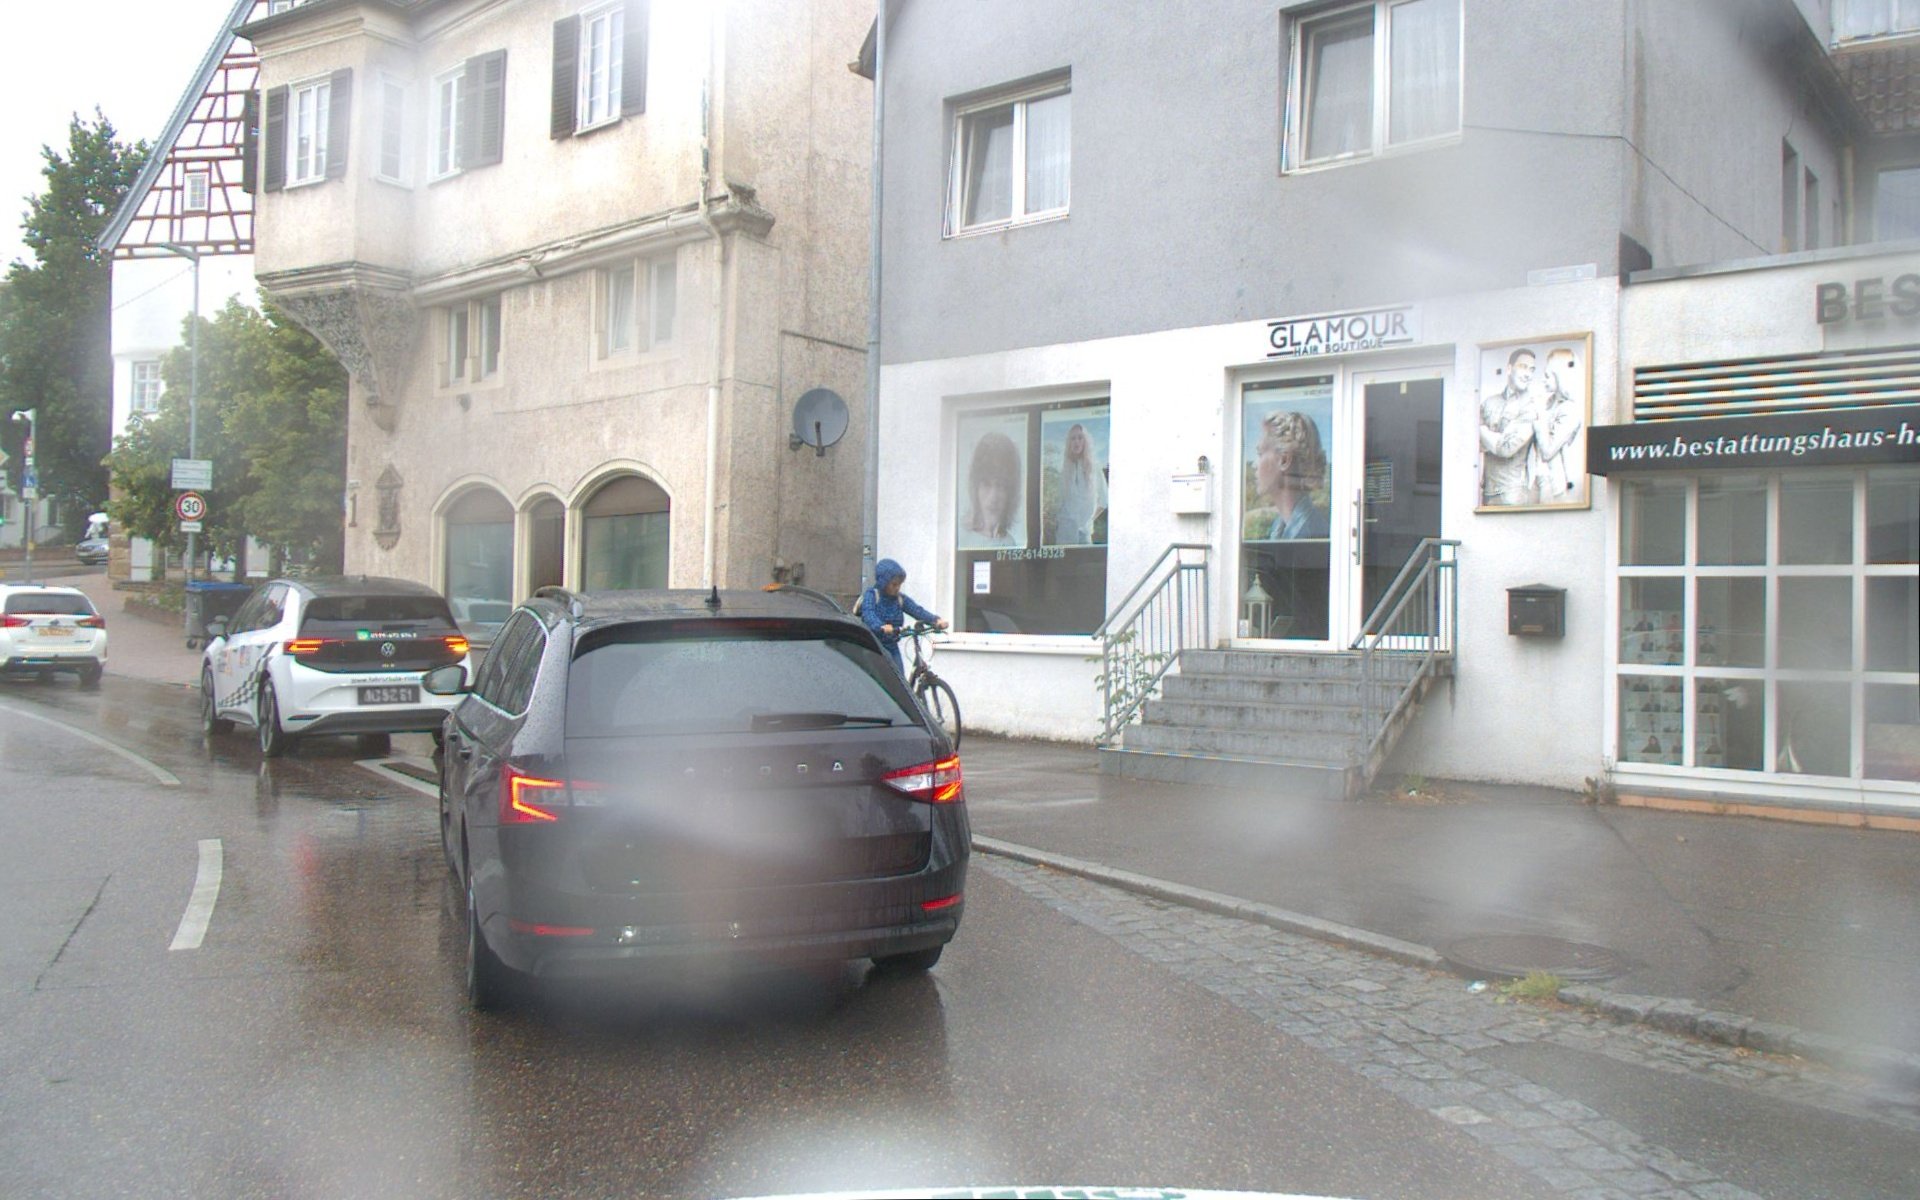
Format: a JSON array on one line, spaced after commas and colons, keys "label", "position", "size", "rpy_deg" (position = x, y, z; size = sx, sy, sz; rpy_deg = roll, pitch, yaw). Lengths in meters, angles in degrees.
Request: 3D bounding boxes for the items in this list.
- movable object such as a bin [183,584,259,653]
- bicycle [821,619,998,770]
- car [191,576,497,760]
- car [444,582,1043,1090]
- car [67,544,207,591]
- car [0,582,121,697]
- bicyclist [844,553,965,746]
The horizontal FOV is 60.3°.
[{"label": "movable object such as a bin", "position": [-14.748, 0.364, 32.979], "size": [1.146, 1.336, 1.171], "rpy_deg": [1, 0, -37]}, {"label": "bicycle", "position": [-0.460, 0.746, 13.681], "size": [0.751, 1.052, 2.068], "rpy_deg": [4, 0, -22]}, {"label": "car", "position": [-5.929, 0.557, 15.652], "size": [1.840, 1.499, 3.952], "rpy_deg": [0, 0, -34]}, {"label": "car", "position": [-1.250, 0.691, 7.171], "size": [1.857, 1.473, 4.336], "rpy_deg": [0, 0, -17]}, {"label": "car", "position": [-31.745, -1.242, 63.924], "size": [1.957, 1.619, 4.469], "rpy_deg": [1, -1, 30]}, {"label": "car", "position": [-14.570, 0.559, 25.550], "size": [1.875, 1.624, 4.260], "rpy_deg": [0, 0, -41]}, {"label": "bicyclist", "position": [-0.478, 0.393, 13.814], "size": [0.674, 1.544, 1.023], "rpy_deg": [1, 1, -22]}]
